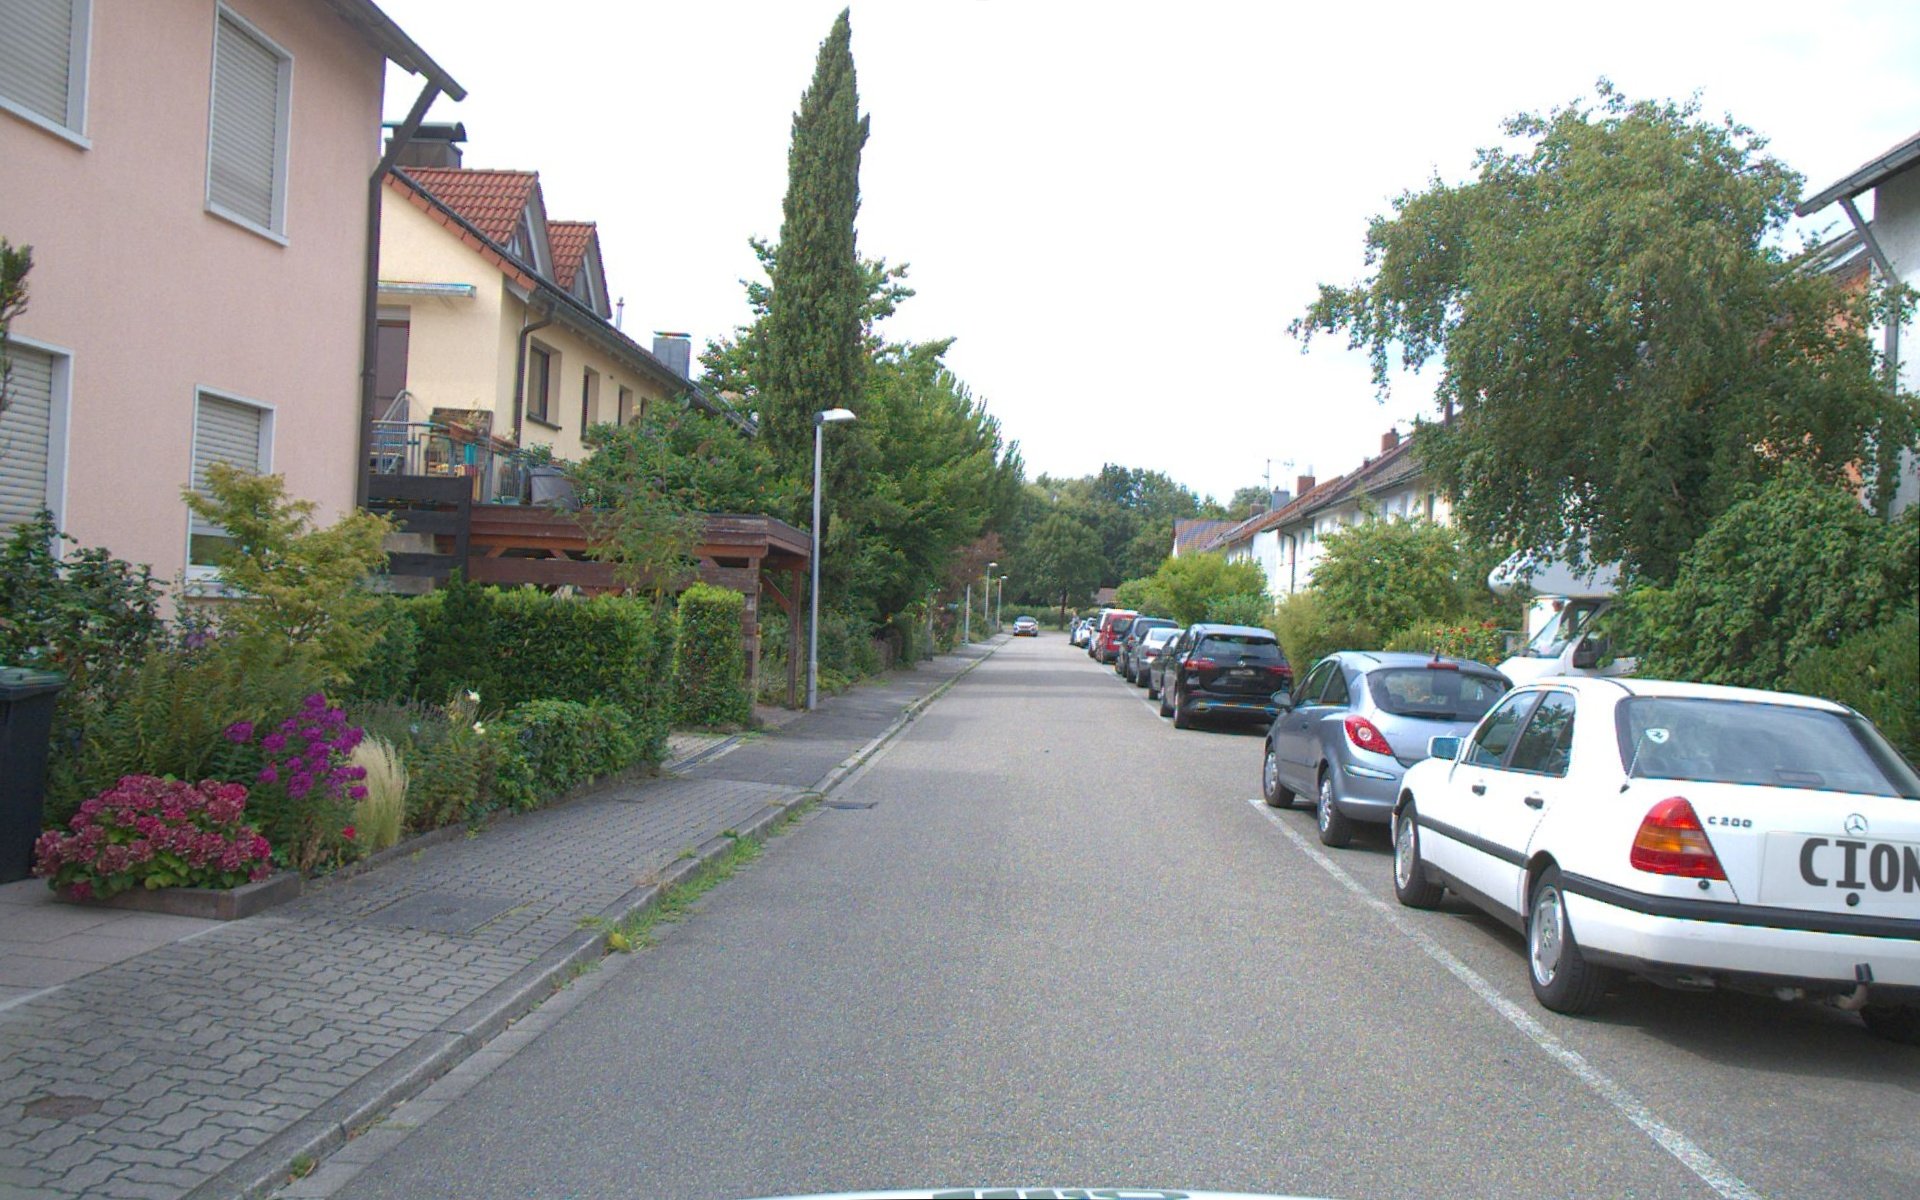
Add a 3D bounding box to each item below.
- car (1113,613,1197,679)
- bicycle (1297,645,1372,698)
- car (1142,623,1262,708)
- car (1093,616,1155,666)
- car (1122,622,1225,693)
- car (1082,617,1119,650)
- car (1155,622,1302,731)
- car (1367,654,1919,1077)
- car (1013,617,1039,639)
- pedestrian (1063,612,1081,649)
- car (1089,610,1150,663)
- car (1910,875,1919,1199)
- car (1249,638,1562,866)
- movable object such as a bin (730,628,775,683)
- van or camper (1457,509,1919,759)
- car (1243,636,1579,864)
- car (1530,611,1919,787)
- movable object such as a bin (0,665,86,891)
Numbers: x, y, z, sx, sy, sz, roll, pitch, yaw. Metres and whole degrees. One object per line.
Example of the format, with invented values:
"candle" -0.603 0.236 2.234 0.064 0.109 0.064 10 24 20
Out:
"car" 5.395 1.234 46.219 1.829 1.682 4.464 2 0 1
"bicycle" 7.928 1.509 35.065 1.505 1.041 0.376 2 -1 8
"car" 4.601 1.212 31.928 1.697 1.453 4.126 2 -1 1
"car" 5.947 1.457 60.382 1.773 1.680 4.410 2 -1 -1
"car" 5.064 1.335 39.783 1.829 1.431 4.768 4 0 1
"car" 7.179 1.702 84.879 1.678 1.570 3.975 4 0 3
"car" 4.163 1.136 26.283 1.713 1.493 4.649 2 -1 2
"car" 3.411 1.055 8.377 1.658 1.388 4.699 2 -1 2
"car" 5.197 2.182 129.984 1.893 1.584 4.636 2 -1 3
"pedestrian" 6.391 1.734 94.484 0.893 2.049 0.951 2 -1 0
"car" 6.269 1.402 65.375 1.979 1.981 4.747 2 -1 1
"car" 3.176 0.863 1.691 1.828 1.465 4.852 2 -1 3
"car" 3.545 1.130 13.923 1.705 1.496 4.219 2 0 4
"movable object such as a bin" -3.875 1.032 30.928 0.697 0.973 0.751 2 -1 2
"van or camper" 9.608 0.430 21.179 5.679 2.867 2.537 2 -1 1
"car" 3.595 1.121 13.969 1.668 1.467 4.220 4 0 1
"car" 9.046 1.099 18.873 4.435 1.738 1.900 2 -1 5
"movable object such as a bin" -4.330 0.781 7.436 0.479 0.947 0.506 2 -1 2
